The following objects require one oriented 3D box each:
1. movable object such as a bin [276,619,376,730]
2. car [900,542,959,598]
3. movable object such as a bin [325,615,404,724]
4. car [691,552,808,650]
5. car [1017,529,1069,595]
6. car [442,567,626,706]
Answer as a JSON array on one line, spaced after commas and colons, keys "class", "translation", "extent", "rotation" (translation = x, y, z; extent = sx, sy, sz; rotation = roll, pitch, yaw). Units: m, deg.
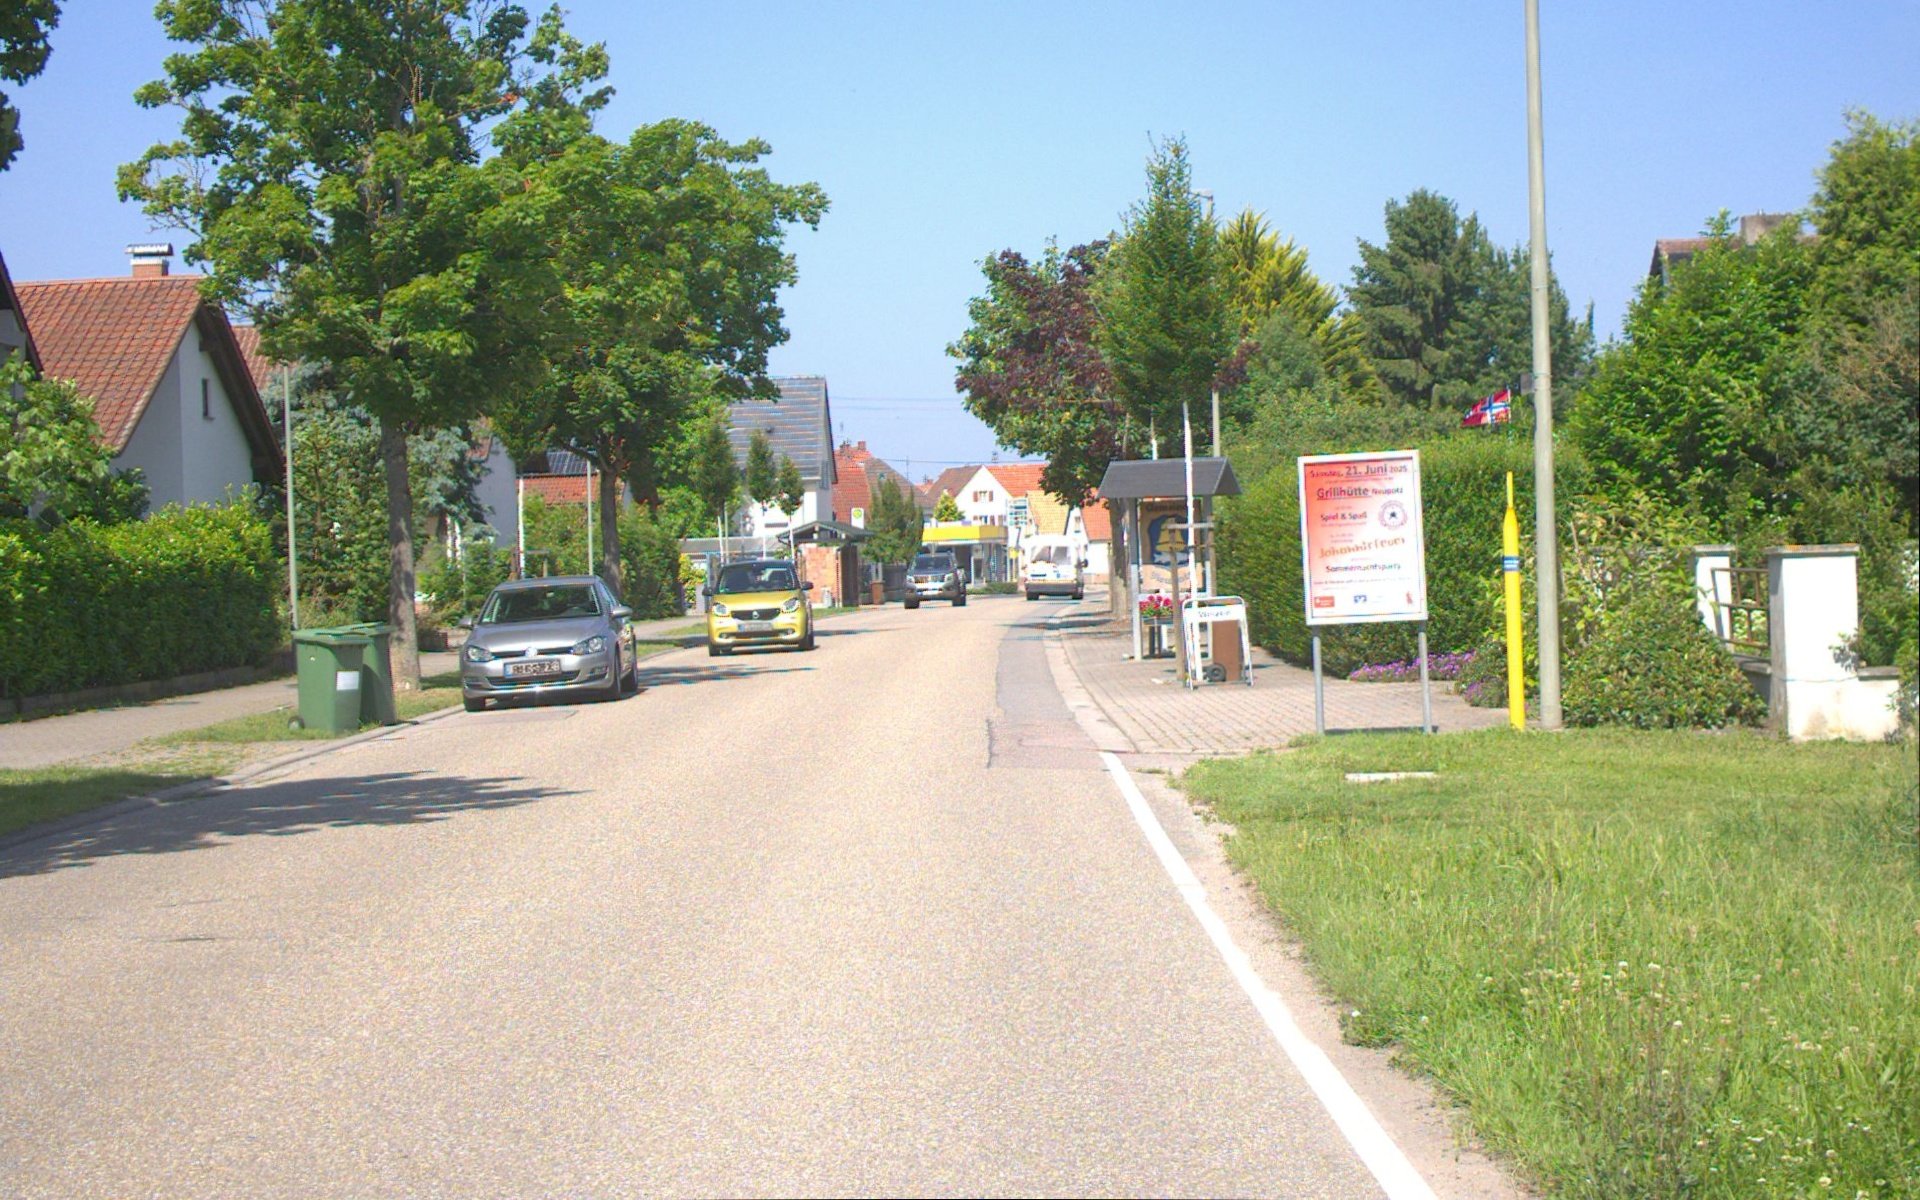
[{"class": "movable object such as a bin", "translation": [-6.381, 0.750, 34.624], "extent": [0.714, 1.075, 0.639], "rotation": [-2, 0, 26]}, {"class": "car", "translation": [-1.027, -1.003, 113.740], "extent": [1.835, 1.747, 3.796], "rotation": [-2, 1, -1]}, {"class": "movable object such as a bin", "translation": [-6.101, 0.708, 35.251], "extent": [0.575, 1.075, 0.598], "rotation": [-2, 0, 14]}, {"class": "car", "translation": [-3.531, -0.004, 58.217], "extent": [1.666, 1.519, 3.442], "rotation": [-3, 1, 0]}, {"class": "car", "translation": [3.221, -1.468, 132.544], "extent": [1.738, 2.424, 4.374], "rotation": [-2, 1, 3]}, {"class": "car", "translation": [-4.900, 0.379, 40.002], "extent": [1.647, 1.419, 4.081], "rotation": [-4, 1, -1]}]
